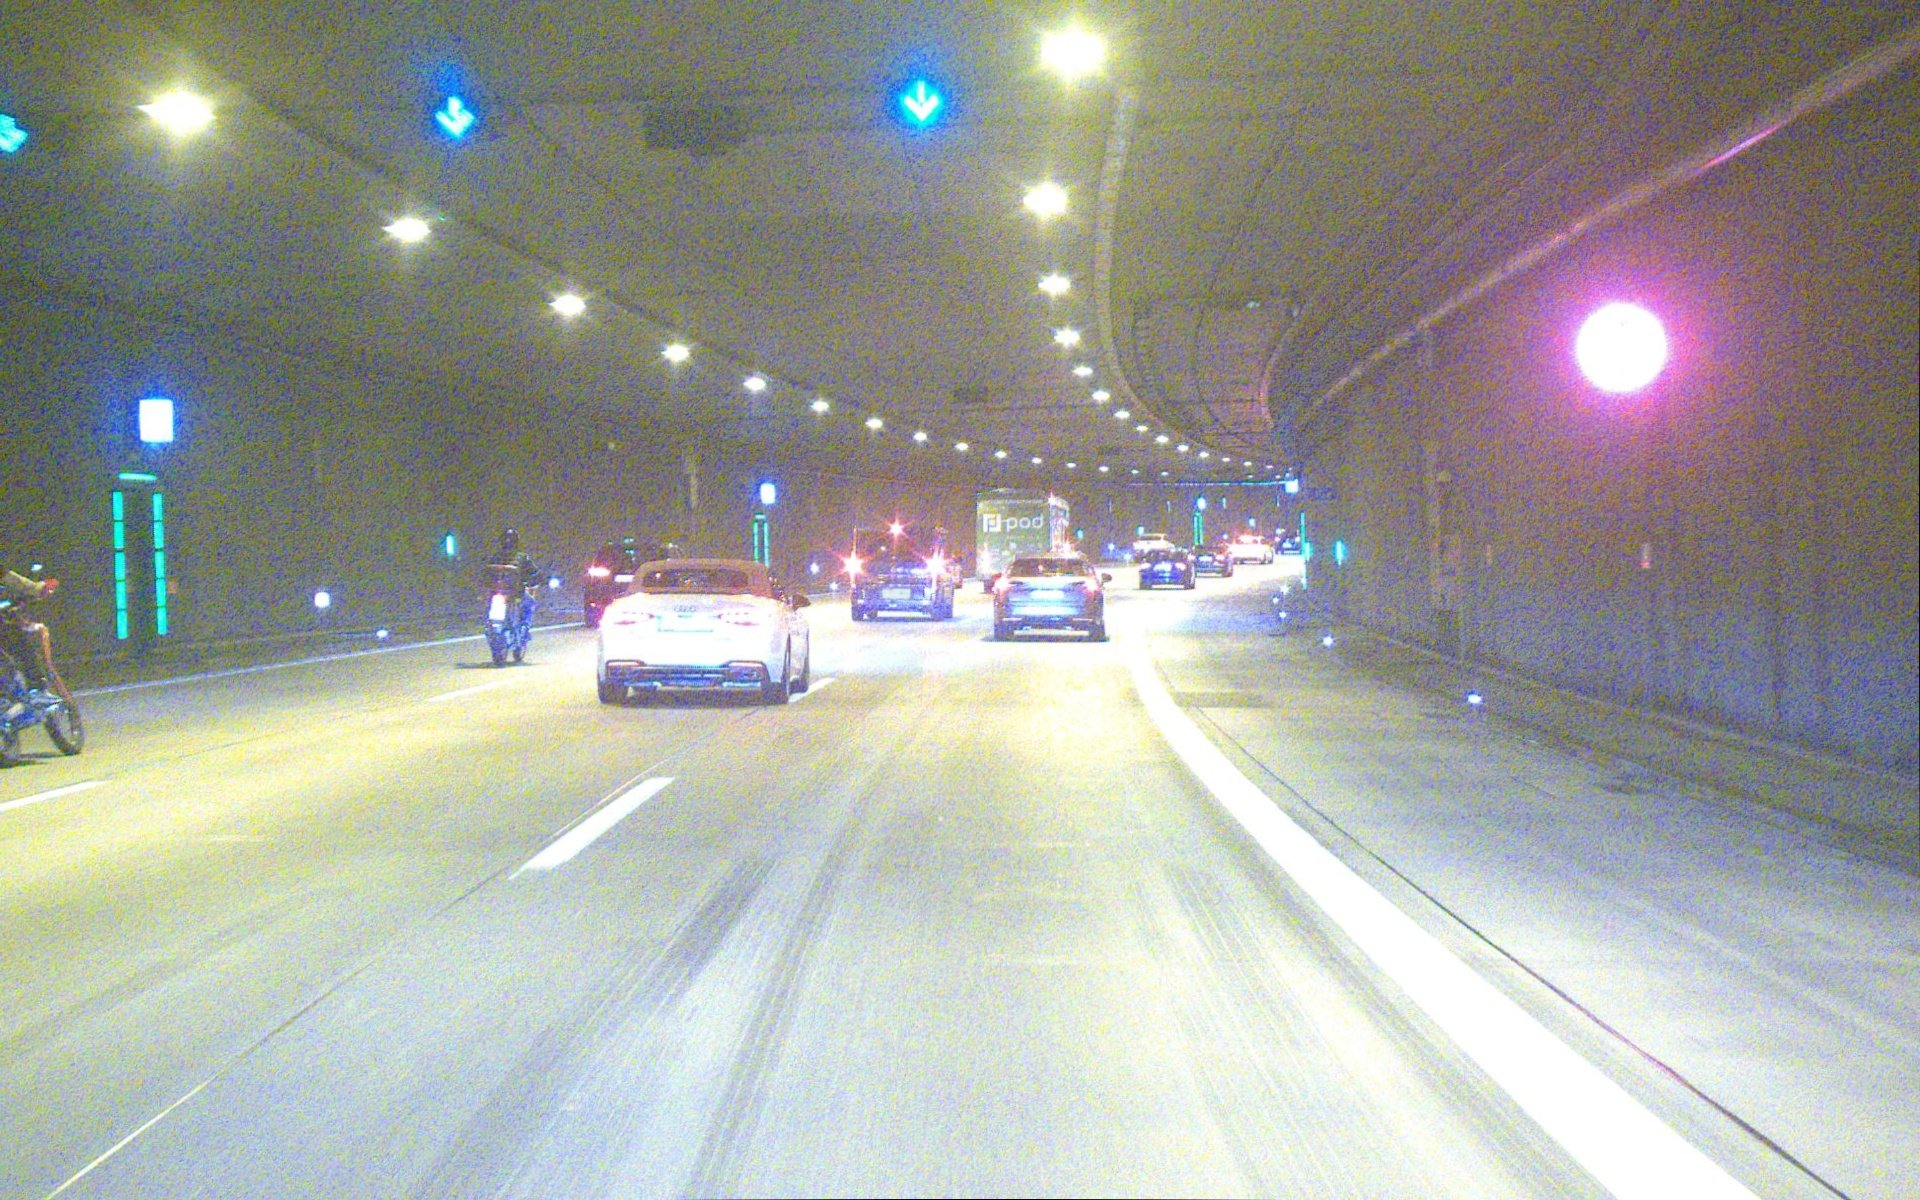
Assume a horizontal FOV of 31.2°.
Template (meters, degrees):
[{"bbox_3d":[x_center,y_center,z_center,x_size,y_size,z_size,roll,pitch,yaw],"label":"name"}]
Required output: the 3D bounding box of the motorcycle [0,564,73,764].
[{"bbox_3d":[-6.612,0.414,23.019,0.683,1.292,2.399,1,1,1],"label":"motorcycle"}]

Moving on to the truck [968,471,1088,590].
[{"bbox_3d":[2.240,-2.219,110.444,3.040,3.660,7.391,1,1,7],"label":"truck"}]

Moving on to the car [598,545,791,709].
[{"bbox_3d":[-2.582,0.207,34.346,1.702,1.414,5.061,0,2,-2],"label":"car"}]

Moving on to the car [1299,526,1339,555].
[{"bbox_3d":[20.816,-3.447,199.178,1.994,1.626,3.998,1,1,10],"label":"car"}]

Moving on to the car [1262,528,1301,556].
[{"bbox_3d":[19.574,-3.519,209.359,1.931,1.637,3.998,1,1,11],"label":"car"}]

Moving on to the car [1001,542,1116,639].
[{"bbox_3d":[1.671,-0.132,57.311,1.742,1.459,3.870,2,-1,3],"label":"car"}]

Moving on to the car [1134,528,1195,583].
[{"bbox_3d":[7.015,-1.528,117.609,1.857,1.848,3.999,1,1,6],"label":"car"}]

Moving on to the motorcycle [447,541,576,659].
[{"bbox_3d":[-5.680,-0.017,43.781,0.926,1.429,2.963,1,1,6],"label":"motorcycle"}]

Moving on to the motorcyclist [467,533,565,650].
[{"bbox_3d":[-5.645,-0.123,43.820,0.806,1.443,1.865,1,1,7],"label":"motorcyclist"}]

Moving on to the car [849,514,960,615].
[{"bbox_3d":[-1.119,-0.765,70.839,1.910,1.937,3.871,0,3,5],"label":"car"}]

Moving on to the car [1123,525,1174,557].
[{"bbox_3d":[10.046,-3.119,182.631,1.932,1.637,3.997,1,1,14],"label":"car"}]

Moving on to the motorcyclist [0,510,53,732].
[{"bbox_3d":[-6.613,0.126,22.999,0.777,1.447,1.069,1,0,1],"label":"motorcyclist"}]

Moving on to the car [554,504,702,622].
[{"bbox_3d":[-5.859,-0.663,61.137,1.994,2.007,4.000,1,1,4],"label":"car"}]

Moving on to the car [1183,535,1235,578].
[{"bbox_3d":[10.574,-1.839,145.645,1.950,1.766,3.999,1,1,7],"label":"car"}]

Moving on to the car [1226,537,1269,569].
[{"bbox_3d":[15.063,-2.455,179.998,1.931,1.637,3.998,1,1,9],"label":"car"}]
